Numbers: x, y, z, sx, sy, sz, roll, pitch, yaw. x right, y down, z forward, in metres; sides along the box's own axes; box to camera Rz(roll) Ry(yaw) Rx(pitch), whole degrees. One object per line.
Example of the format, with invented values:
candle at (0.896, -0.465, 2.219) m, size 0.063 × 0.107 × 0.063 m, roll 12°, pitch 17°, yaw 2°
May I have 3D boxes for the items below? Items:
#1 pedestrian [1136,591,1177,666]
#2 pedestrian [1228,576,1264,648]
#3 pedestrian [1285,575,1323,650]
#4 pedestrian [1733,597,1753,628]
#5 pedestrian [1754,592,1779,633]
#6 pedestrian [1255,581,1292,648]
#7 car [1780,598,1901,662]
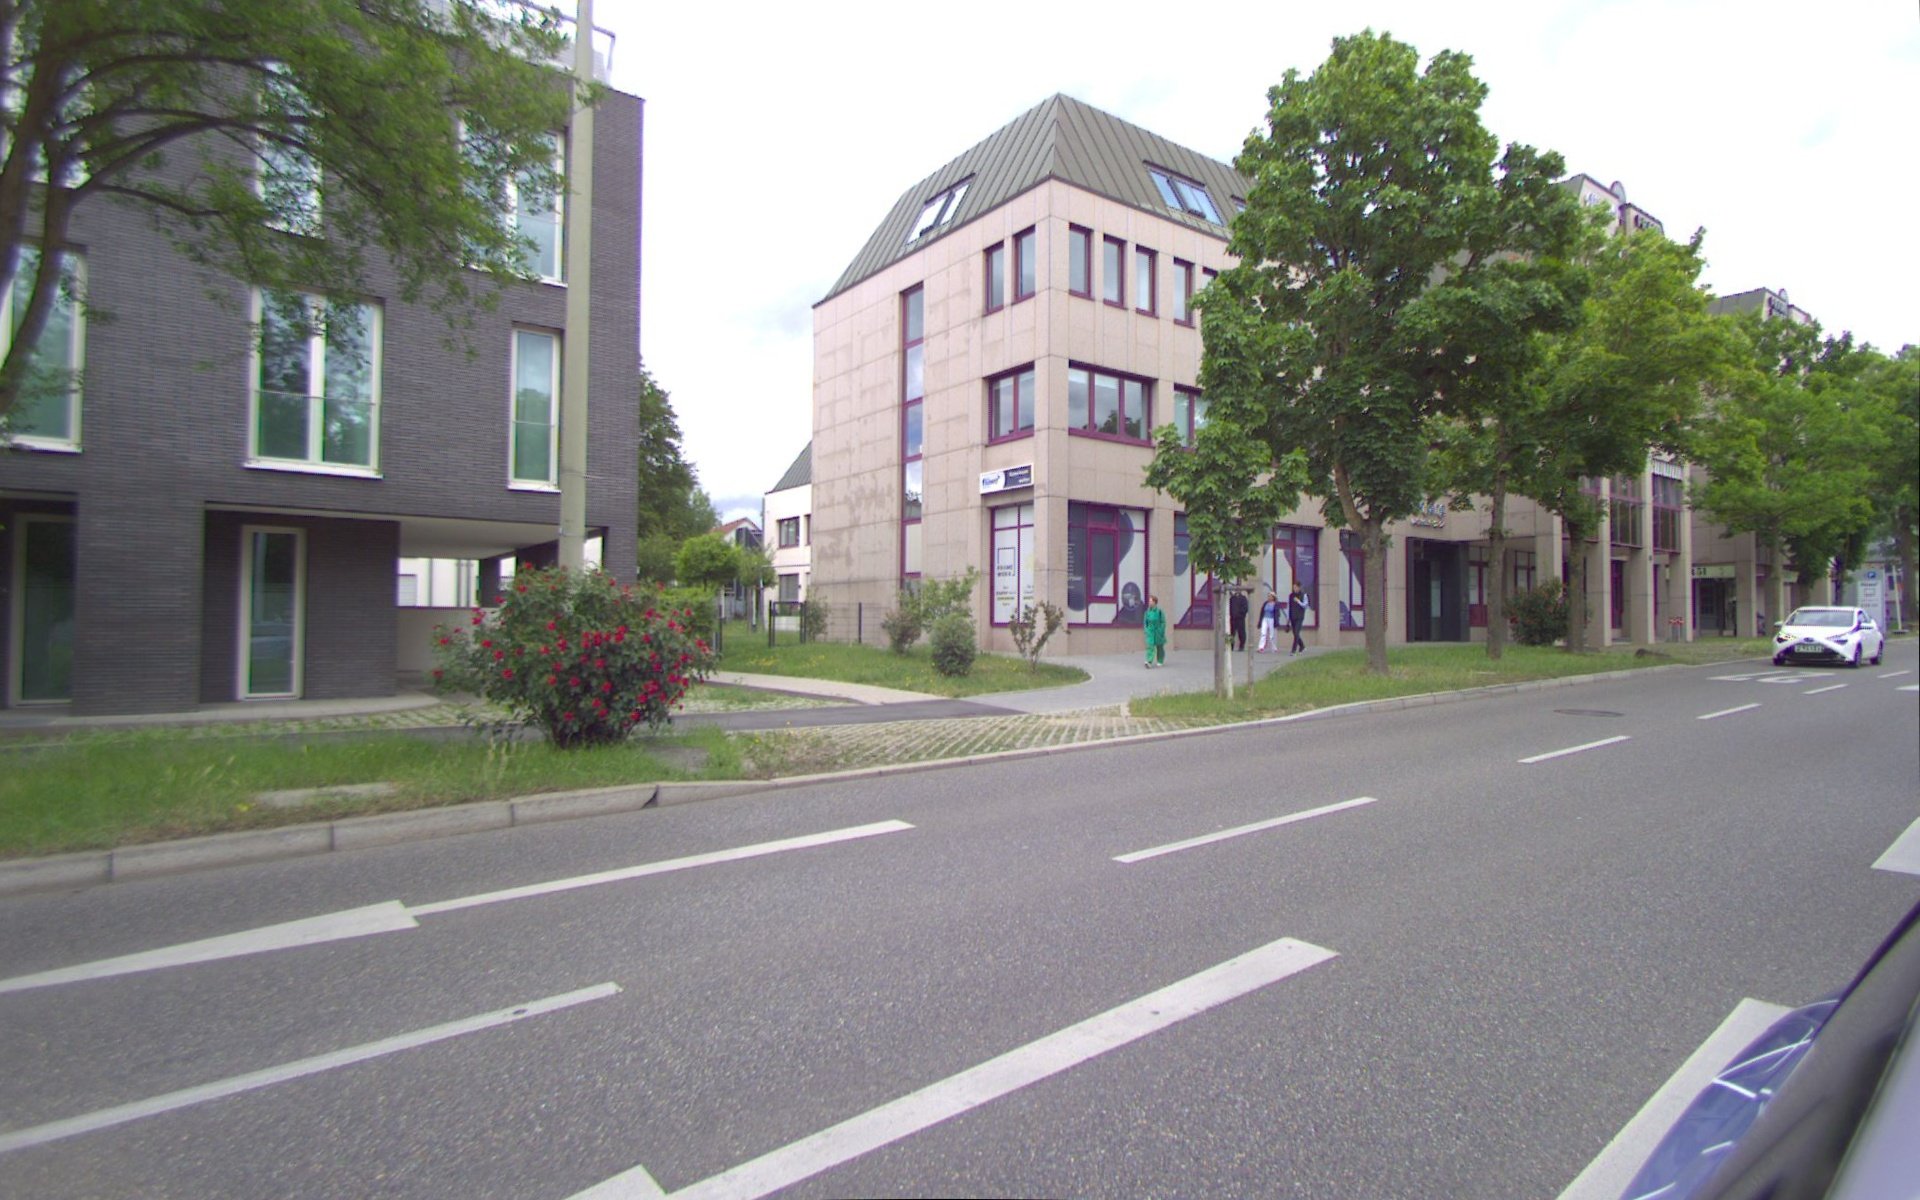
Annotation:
pedestrian at (4.127, 0.582, 21.287) m, size 0.665 × 1.537 × 0.496 m, roll 0°, pitch 2°, yaw -41°
pedestrian at (7.420, 0.299, 26.280) m, size 0.665 × 1.828 × 0.642 m, roll 0°, pitch -1°, yaw -41°
pedestrian at (8.608, 0.302, 25.315) m, size 0.665 × 1.828 × 0.642 m, roll 0°, pitch -1°, yaw -41°
pedestrian at (36.515, 0.575, 47.176) m, size 0.629 × 1.422 × 0.607 m, roll 0°, pitch 0°, yaw -38°
pedestrian at (36.940, 0.572, 46.362) m, size 0.932 × 1.845 × 0.718 m, roll 0°, pitch 0°, yaw -41°
pedestrian at (8.007, 0.367, 25.850) m, size 0.665 × 1.668 × 0.642 m, roll 0°, pitch -1°, yaw -41°
car at (21.601, 0.676, 24.799) m, size 3.471 × 1.443 × 1.657 m, roll 0°, pitch 1°, yaw -39°
